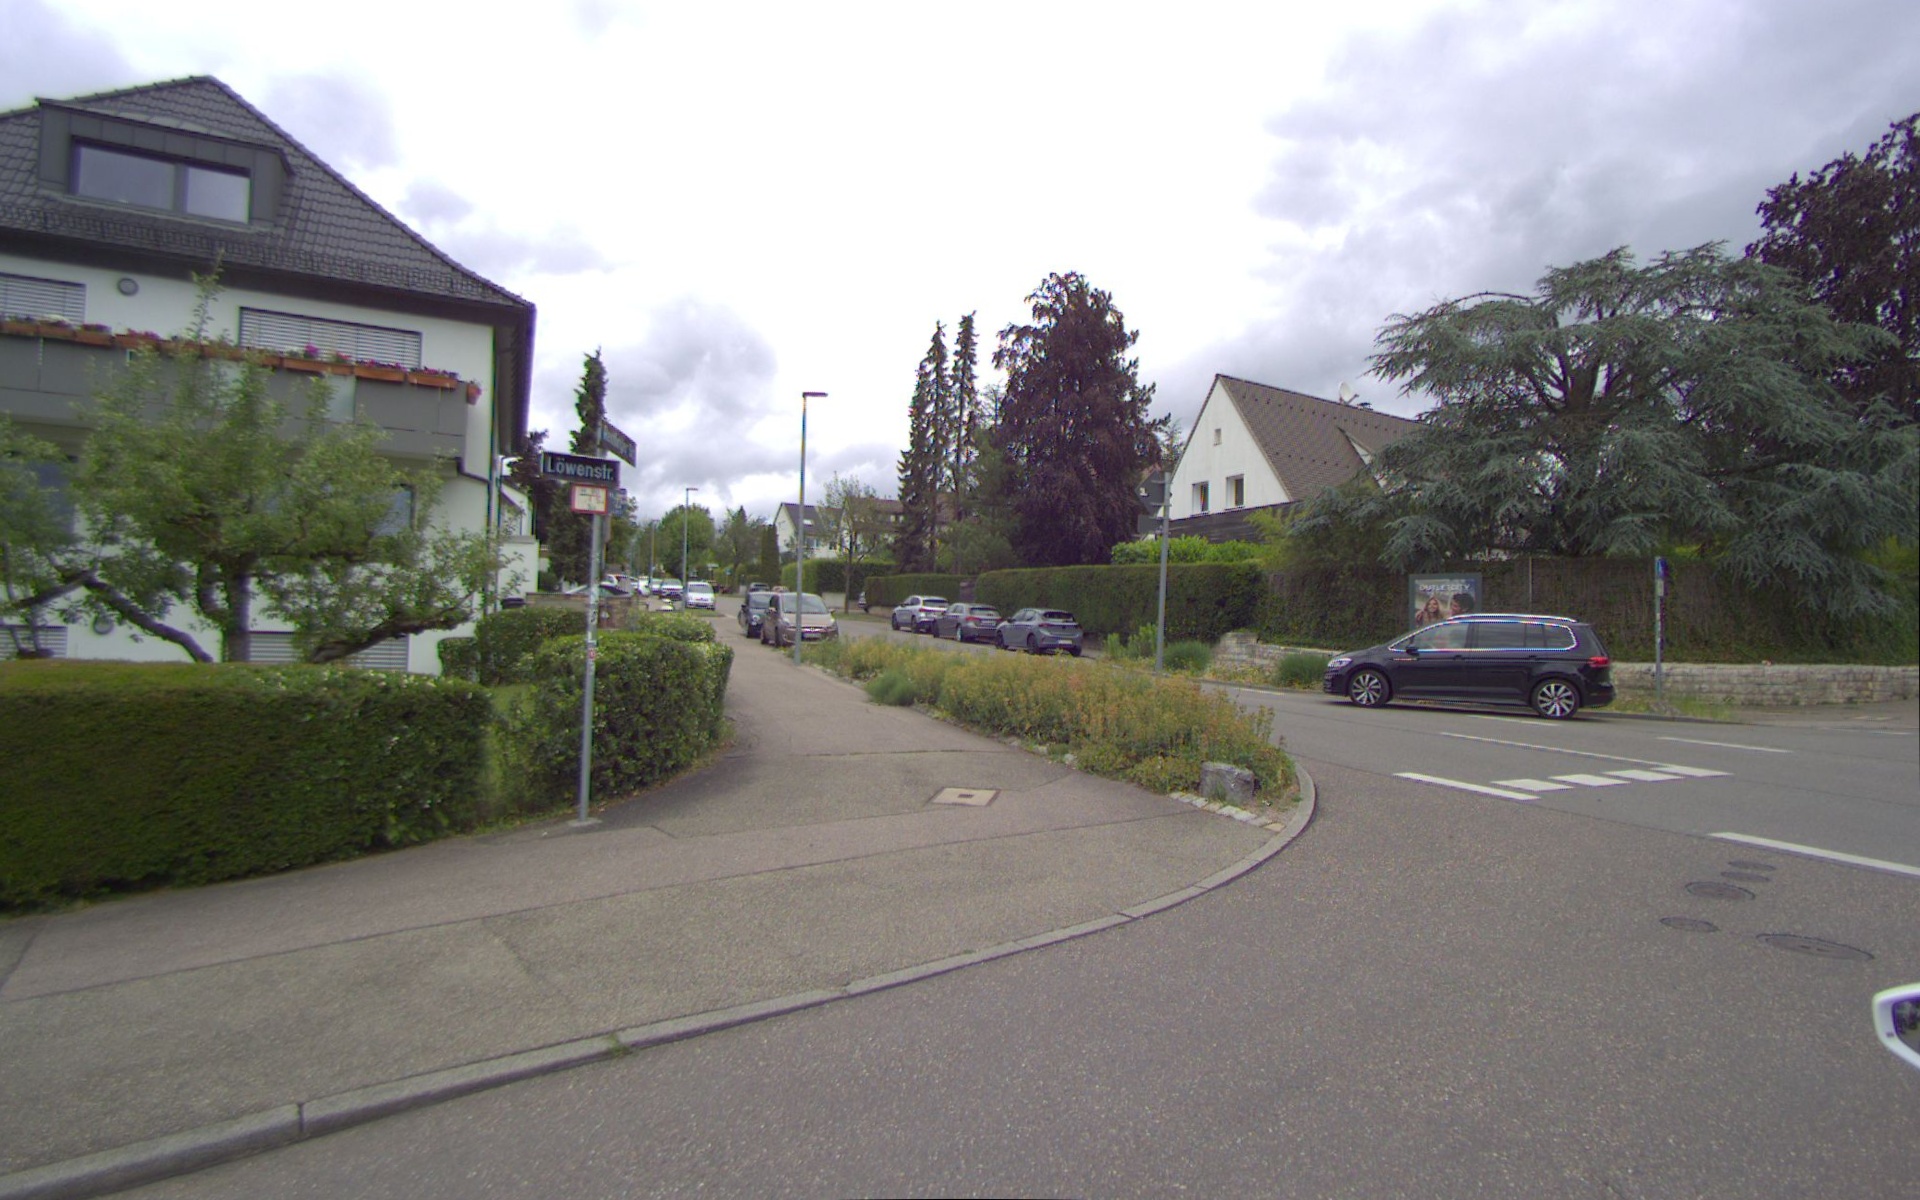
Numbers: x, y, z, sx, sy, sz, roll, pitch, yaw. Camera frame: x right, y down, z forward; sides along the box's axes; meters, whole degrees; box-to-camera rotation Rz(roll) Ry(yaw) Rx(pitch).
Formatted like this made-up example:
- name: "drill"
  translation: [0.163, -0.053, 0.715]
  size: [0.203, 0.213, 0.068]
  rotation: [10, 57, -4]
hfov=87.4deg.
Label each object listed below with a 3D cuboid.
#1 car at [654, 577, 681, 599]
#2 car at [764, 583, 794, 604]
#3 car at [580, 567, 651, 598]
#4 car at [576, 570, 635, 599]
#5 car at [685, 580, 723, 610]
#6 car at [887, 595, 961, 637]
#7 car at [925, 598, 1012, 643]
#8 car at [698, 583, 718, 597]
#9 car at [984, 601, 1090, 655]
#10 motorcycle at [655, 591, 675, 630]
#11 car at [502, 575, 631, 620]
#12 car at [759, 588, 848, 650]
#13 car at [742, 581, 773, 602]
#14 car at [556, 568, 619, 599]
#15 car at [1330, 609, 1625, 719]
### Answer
- name: "car"
  translation: [-22.813, -0.959, 78.180]
  size: [1.815, 1.689, 4.389]
  rotation: [1, 1, -19]
- name: "car"
  translation: [-14.224, -0.507, 78.890]
  size: [1.641, 1.528, 3.741]
  rotation: [3, 1, -20]
- name: "car"
  translation: [-23.313, -1.186, 67.936]
  size: [4.362, 1.650, 1.901]
  rotation: [6, -1, -21]
- name: "car"
  translation: [-22.663, -0.968, 64.275]
  size: [3.388, 1.532, 1.685]
  rotation: [5, -2, -19]
- name: "car"
  translation: [-14.719, -0.293, 57.625]
  size: [1.740, 1.584, 3.837]
  rotation: [2, 1, -20]
- name: "car"
  translation: [-1.616, 0.675, 43.563]
  size: [1.834, 1.603, 4.150]
  rotation: [4, 0, -22]
- name: "car"
  translation: [0.260, 0.746, 38.415]
  size: [1.834, 1.483, 4.150]
  rotation: [4, 0, -22]
- name: "car"
  translation: [-32.154, -1.288, 128.032]
  size: [1.970, 1.639, 4.493]
  rotation: [5, -1, -19]
- name: "car"
  translation: [2.432, 0.877, 32.802]
  size: [1.834, 1.483, 3.979]
  rotation: [4, 0, -22]
- name: "motorcycle"
  translation: [-9.252, 0.340, 31.527]
  size: [0.423, 1.176, 1.858]
  rotation: [1, -1, -12]
- name: "car"
  translation: [-14.443, -0.090, 36.857]
  size: [4.243, 1.386, 1.892]
  rotation: [3, 0, -26]
- name: "car"
  translation: [-4.675, 0.518, 29.572]
  size: [1.855, 1.606, 3.854]
  rotation: [2, 0, -20]
- name: "car"
  translation: [-17.729, -0.791, 87.993]
  size: [1.970, 1.639, 4.493]
  rotation: [5, -1, -19]
- name: "car"
  translation: [-22.556, -0.982, 60.977]
  size: [3.388, 1.598, 1.650]
  rotation: [5, -2, -19]
- name: "car"
  translation: [8.630, 1.014, 17.074]
  size: [4.230, 1.633, 1.852]
  rotation: [0, -2, 26]
